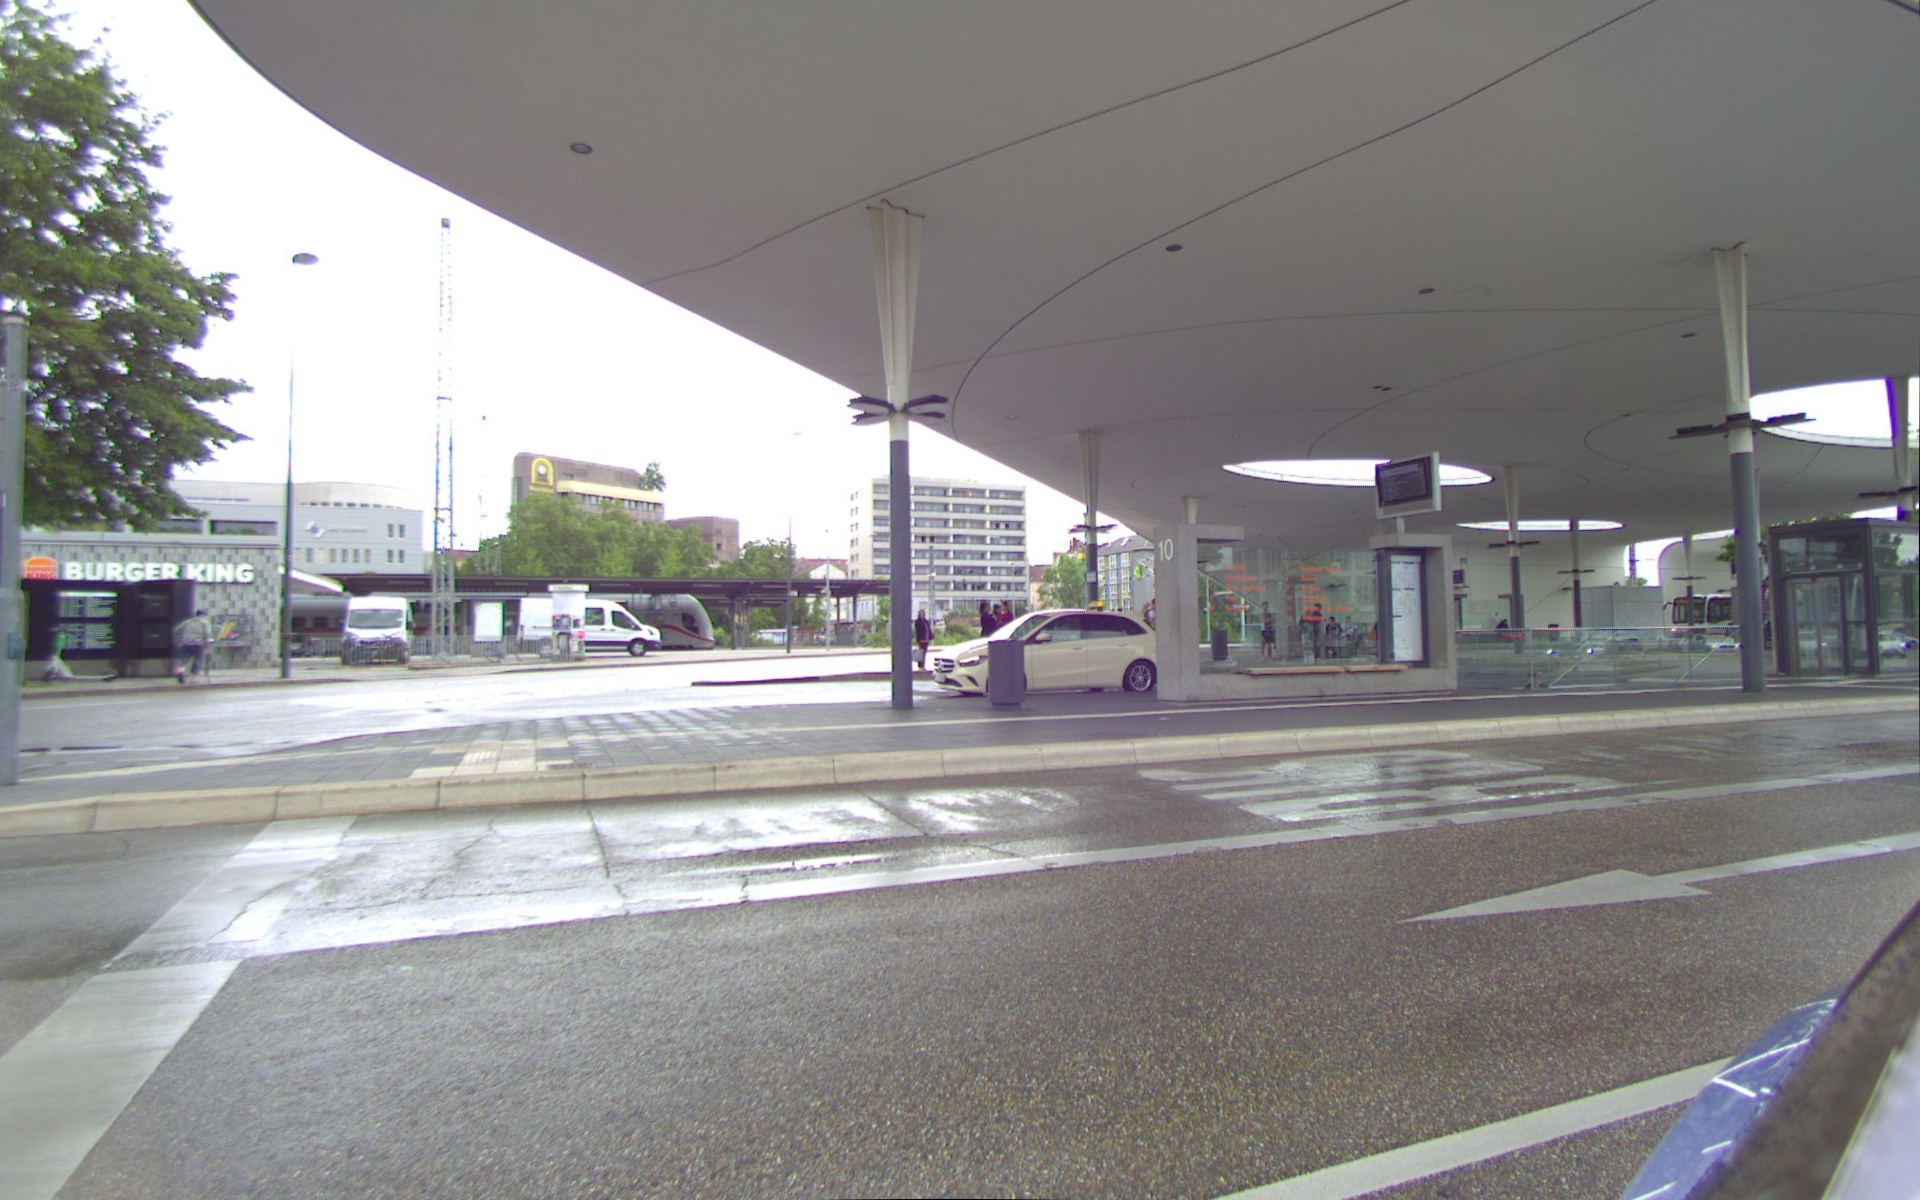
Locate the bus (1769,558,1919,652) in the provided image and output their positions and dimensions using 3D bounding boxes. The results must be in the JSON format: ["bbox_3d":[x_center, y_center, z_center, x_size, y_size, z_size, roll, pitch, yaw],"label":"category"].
[{"bbox_3d":[34.872,0.110,37.059,11.672,3.121,2.884,0,0,-22],"label":"bus"}]

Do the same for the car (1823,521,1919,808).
[{"bbox_3d":[9.259,0.445,7.700,4.955,2.039,2.004,0,0,-22],"label":"car"}]

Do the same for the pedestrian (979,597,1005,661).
[{"bbox_3d":[0.770,0.686,24.532,0.469,1.533,0.536,0,-1,-18],"label":"pedestrian"}]

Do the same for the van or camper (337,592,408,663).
[{"bbox_3d":[-21.920,0.931,37.941,2.122,2.464,5.871,0,0,-28],"label":"van or camper"}]

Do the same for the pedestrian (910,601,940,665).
[{"bbox_3d":[-0.912,0.847,26.196,0.726,1.615,0.643,0,0,-8],"label":"pedestrian"}]

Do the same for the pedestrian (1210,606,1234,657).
[{"bbox_3d":[7.944,0.943,30.717,0.514,1.533,0.480,0,-1,-19],"label":"pedestrian"}]

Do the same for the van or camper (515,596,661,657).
[{"bbox_3d":[-15.830,1.058,43.177,5.741,2.464,2.004,0,0,-22],"label":"van or camper"}]

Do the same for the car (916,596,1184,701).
[{"bbox_3d":[1.631,0.787,18.457,4.447,1.702,2.004,0,0,-22],"label":"car"}]

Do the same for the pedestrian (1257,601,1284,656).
[{"bbox_3d":[8.689,0.787,28.324,0.524,1.533,0.480,0,-1,-19],"label":"pedestrian"}]

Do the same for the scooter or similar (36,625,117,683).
[{"bbox_3d":[-19.206,1.154,22.016,0.331,1.197,1.288,0,0,34],"label":"scooter or similar"}]

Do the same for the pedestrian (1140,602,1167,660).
[{"bbox_3d":[5.134,0.811,26.813,0.524,1.533,0.480,0,-1,-19],"label":"pedestrian"}]

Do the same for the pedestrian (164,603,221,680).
[{"bbox_3d":[-16.037,0.850,21.154,0.634,1.549,0.829,0,0,38],"label":"pedestrian"}]

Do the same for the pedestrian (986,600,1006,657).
[{"bbox_3d":[0.972,0.765,27.281,0.472,1.533,0.533,0,-1,12],"label":"pedestrian"}]

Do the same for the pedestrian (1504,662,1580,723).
[{"bbox_3d":[11.301,1.789,19.669,0.938,1.068,0.885,0,0,-19],"label":"pedestrian"}]

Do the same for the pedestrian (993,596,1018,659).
[{"bbox_3d":[1.136,0.681,25.298,0.469,1.533,0.536,0,-1,-18],"label":"pedestrian"}]

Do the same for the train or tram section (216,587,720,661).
[{"bbox_3d":[-30.628,1.295,66.116,28.695,4.235,4.615,0,0,-22],"label":"train or tram section"}]
